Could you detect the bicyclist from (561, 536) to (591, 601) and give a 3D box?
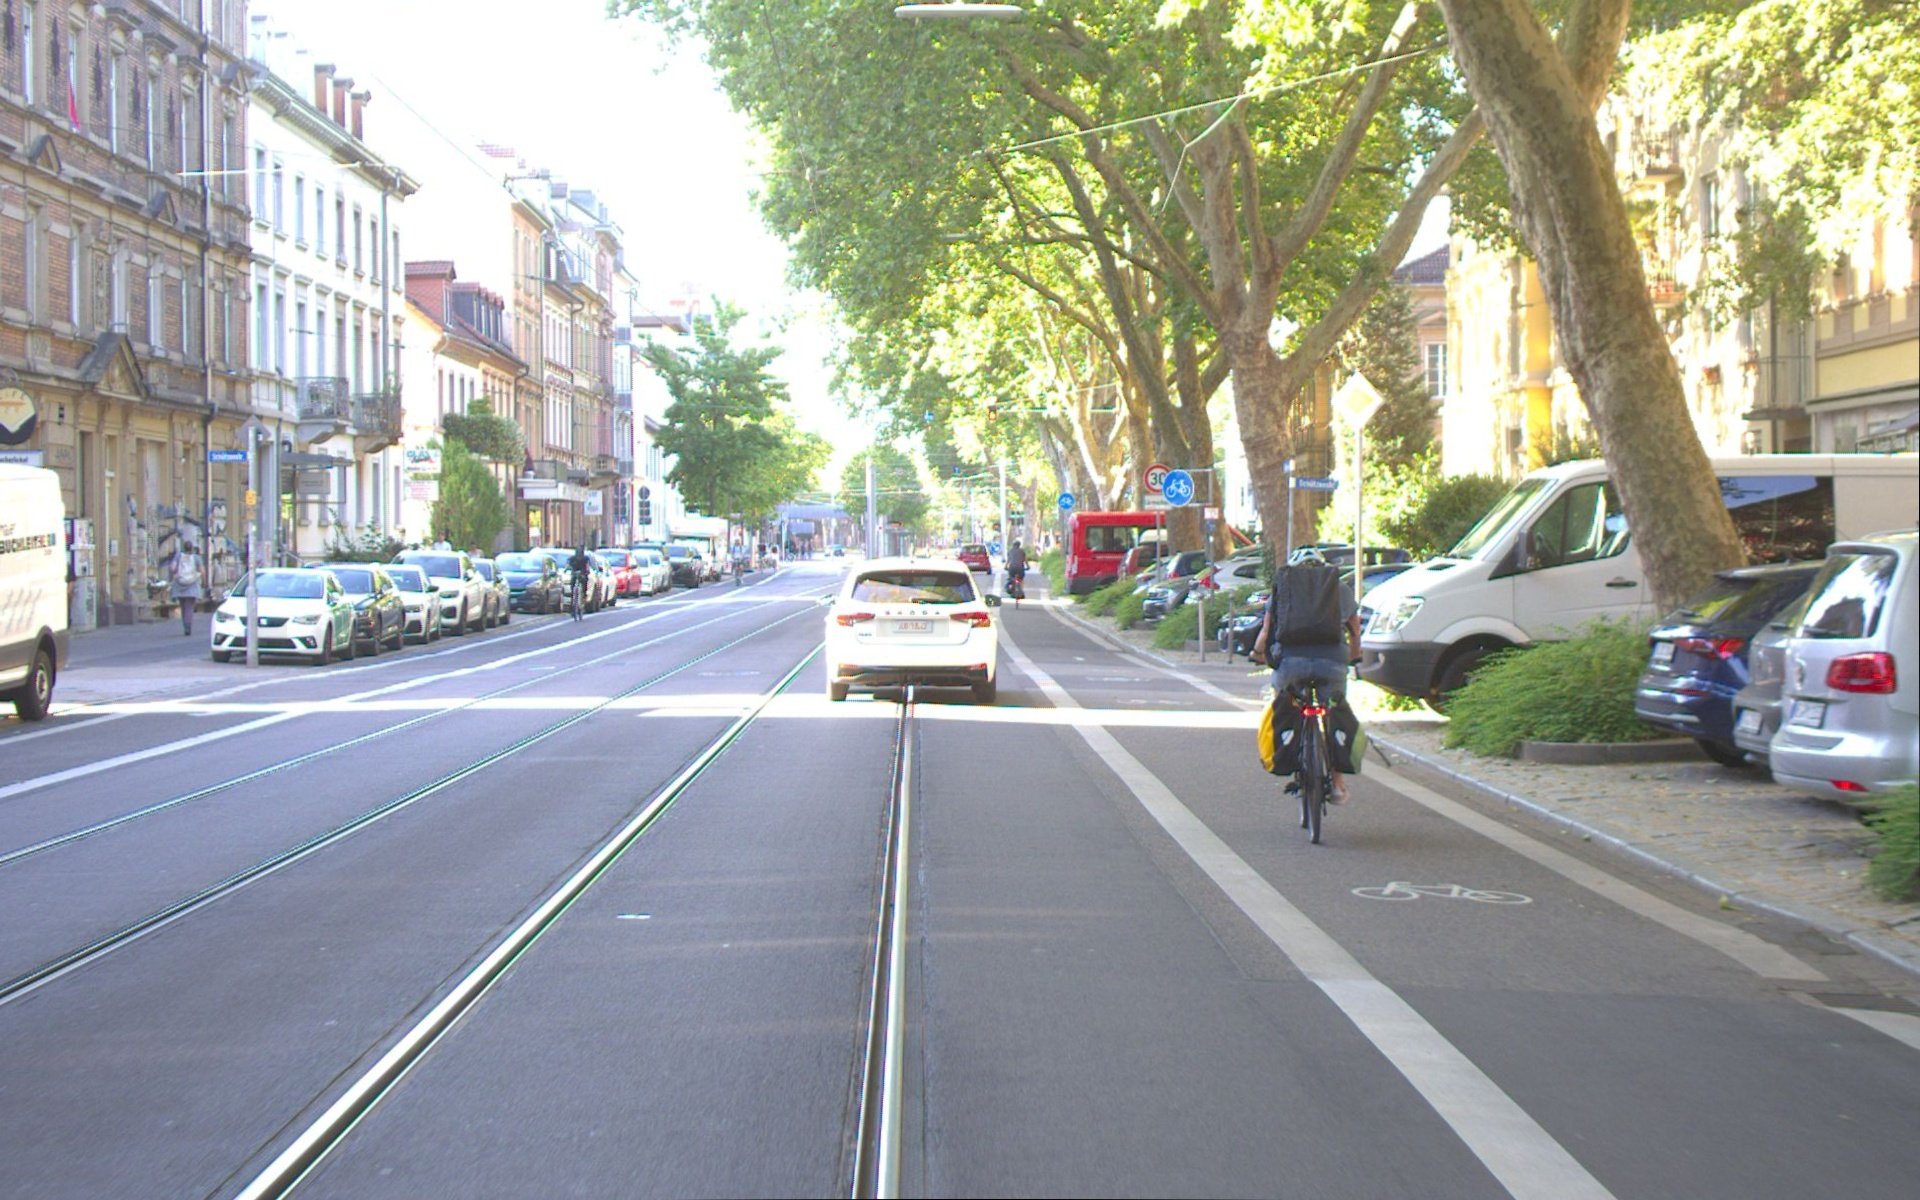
[{"bbox_3d":[-8.779,-0.718,78.645,0.582,1.477,0.807,-1,1,-1],"label":"bicyclist"}]

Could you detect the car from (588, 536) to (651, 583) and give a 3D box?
[{"bbox_3d":[-11.408,-1.369,115.296,1.827,1.497,4.689,1,1,-2],"label":"car"}]

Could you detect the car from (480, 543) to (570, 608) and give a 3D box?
[{"bbox_3d":[-10.614,-0.621,84.144,1.554,1.510,3.924,-1,1,2],"label":"car"}]

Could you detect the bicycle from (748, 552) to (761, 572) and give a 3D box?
[{"bbox_3d":[-10.908,-2.008,182.338,0.484,1.044,2.039,-2,1,2],"label":"bicycle"}]

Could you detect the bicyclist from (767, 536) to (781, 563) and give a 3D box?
[{"bbox_3d":[-10.258,-2.786,189.817,0.638,1.498,1.070,-1,1,1],"label":"bicyclist"}]

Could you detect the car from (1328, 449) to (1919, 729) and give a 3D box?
[{"bbox_3d":[6.242,-0.125,29.393,5.991,2.274,2.006,-1,2,1],"label":"car"}]

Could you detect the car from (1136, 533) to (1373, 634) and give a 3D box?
[{"bbox_3d":[5.641,-0.329,66.111,4.261,1.713,1.849,-3,1,-2],"label":"car"}]

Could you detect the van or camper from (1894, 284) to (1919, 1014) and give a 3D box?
[{"bbox_3d":[6.289,0.144,10.936,6.032,2.482,2.107,-1,1,-1],"label":"van or camper"}]

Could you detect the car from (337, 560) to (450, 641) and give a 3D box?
[{"bbox_3d":[-10.443,-0.016,63.565,1.699,1.415,4.001,1,1,-4],"label":"car"}]

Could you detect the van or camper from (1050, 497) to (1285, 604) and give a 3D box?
[{"bbox_3d":[5.380,-1.312,89.664,5.814,2.510,2.288,-2,2,-2],"label":"van or camper"}]

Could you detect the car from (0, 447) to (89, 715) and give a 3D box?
[{"bbox_3d":[-10.106,-0.179,32.740,2.065,2.527,5.667,0,1,1],"label":"car"}]

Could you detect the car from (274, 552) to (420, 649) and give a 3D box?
[{"bbox_3d":[-10.375,-0.028,58.467,1.740,1.557,4.787,1,1,-2],"label":"car"}]

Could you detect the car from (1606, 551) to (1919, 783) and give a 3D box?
[{"bbox_3d":[6.531,0.407,22.945,4.053,1.455,1.796,-1,1,-2],"label":"car"}]

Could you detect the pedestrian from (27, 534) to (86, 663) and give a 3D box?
[{"bbox_3d":[-12.802,-0.026,48.724,0.683,1.794,1.057,1,1,-9],"label":"pedestrian"}]

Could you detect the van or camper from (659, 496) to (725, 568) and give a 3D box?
[{"bbox_3d":[-12.068,-3.068,155.186,2.216,3.129,7.113,1,1,1],"label":"van or camper"}]

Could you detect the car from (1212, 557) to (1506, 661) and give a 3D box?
[{"bbox_3d":[5.912,0.120,51.246,4.096,1.486,1.831,0,1,-2],"label":"car"}]

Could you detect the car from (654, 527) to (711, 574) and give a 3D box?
[{"bbox_3d":[-11.084,-2.007,137.678,1.964,1.775,4.938,2,1,-2],"label":"car"}]

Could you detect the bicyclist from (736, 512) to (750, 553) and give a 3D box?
[{"bbox_3d":[-8.656,-2.703,137.154,0.473,1.630,0.800,0,1,1],"label":"bicyclist"}]

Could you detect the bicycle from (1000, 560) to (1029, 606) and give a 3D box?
[{"bbox_3d":[1.399,-0.449,88.773,0.680,1.151,2.964,1,1,0],"label":"bicycle"}]

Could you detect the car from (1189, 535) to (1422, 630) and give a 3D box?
[{"bbox_3d":[6.309,-0.331,63.077,4.027,1.638,1.681,-1,1,-2],"label":"car"}]

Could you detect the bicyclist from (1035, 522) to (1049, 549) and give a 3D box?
[{"bbox_3d":[4.945,-3.910,208.329,0.737,1.583,0.586,0,1,12],"label":"bicyclist"}]

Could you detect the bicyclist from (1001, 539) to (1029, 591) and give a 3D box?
[{"bbox_3d":[1.415,-0.899,88.737,0.679,1.334,0.525,1,1,0],"label":"bicyclist"}]

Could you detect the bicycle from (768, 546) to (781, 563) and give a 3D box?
[{"bbox_3d":[-10.247,-2.505,189.940,0.499,0.940,1.921,-2,1,2],"label":"bicycle"}]

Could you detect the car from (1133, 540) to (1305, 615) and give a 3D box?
[{"bbox_3d":[5.670,-0.497,75.405,3.595,1.512,1.694,-2,1,0],"label":"car"}]

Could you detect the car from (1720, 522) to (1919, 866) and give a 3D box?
[{"bbox_3d":[6.082,0.424,17.522,3.954,1.650,1.796,-1,0,-3],"label":"car"}]

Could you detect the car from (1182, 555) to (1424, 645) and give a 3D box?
[{"bbox_3d":[6.004,-0.014,60.510,4.027,1.475,1.681,-1,1,-2],"label":"car"}]

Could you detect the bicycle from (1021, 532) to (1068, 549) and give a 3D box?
[{"bbox_3d":[5.094,-3.610,208.291,2.771,0.996,0.592,1,1,15],"label":"bicycle"}]

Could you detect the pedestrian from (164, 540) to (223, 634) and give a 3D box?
[{"bbox_3d":[-13.771,-0.232,61.784,0.663,1.659,0.767,1,1,31],"label":"pedestrian"}]

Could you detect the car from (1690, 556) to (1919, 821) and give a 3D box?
[{"bbox_3d":[6.506,0.476,20.378,3.954,1.473,1.796,-1,1,-1],"label":"car"}]

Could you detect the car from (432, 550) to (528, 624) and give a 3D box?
[{"bbox_3d":[-10.375,-0.303,74.455,1.662,1.515,4.065,1,1,-3],"label":"car"}]

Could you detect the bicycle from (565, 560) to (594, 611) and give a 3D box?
[{"bbox_3d":[-8.693,-0.331,78.599,0.421,1.146,2.232,-1,0,-1],"label":"bicycle"}]

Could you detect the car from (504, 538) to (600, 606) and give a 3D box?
[{"bbox_3d":[-10.590,-0.755,89.464,1.856,1.698,4.763,-1,1,1],"label":"car"}]

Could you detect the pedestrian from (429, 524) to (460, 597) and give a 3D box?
[{"bbox_3d":[-14.248,-1.085,95.031,0.759,2.007,0.830,0,1,-2],"label":"pedestrian"}]

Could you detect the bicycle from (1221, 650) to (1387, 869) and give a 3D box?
[{"bbox_3d":[1.840,0.827,18.678,0.595,1.001,2.511,2,1,0],"label":"bicycle"}]

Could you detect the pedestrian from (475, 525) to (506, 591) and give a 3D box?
[{"bbox_3d":[-12.994,-1.158,95.145,0.759,1.815,0.830,0,1,-3],"label":"pedestrian"}]

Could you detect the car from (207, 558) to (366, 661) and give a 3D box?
[{"bbox_3d":[-10.328,0.118,52.974,1.740,1.486,4.045,1,1,-2],"label":"car"}]

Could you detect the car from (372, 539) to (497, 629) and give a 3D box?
[{"bbox_3d":[-10.491,-0.349,68.949,1.786,1.717,4.719,1,1,0],"label":"car"}]

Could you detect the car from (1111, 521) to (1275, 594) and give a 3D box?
[{"bbox_3d":[5.767,-1.052,85.222,3.818,1.643,1.767,-2,0,-3],"label":"car"}]

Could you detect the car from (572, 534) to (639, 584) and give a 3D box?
[{"bbox_3d":[-11.337,-1.336,110.215,1.569,1.557,3.448,0,1,4],"label":"car"}]

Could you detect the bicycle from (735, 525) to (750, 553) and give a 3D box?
[{"bbox_3d":[-8.664,-2.432,136.911,0.481,1.082,1.846,0,1,1],"label":"bicycle"}]

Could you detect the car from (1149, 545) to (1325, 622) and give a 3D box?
[{"bbox_3d":[5.866,-0.347,73.038,3.595,1.594,1.541,-1,0,0],"label":"car"}]

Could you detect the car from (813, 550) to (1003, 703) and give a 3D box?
[{"bbox_3d":[-0.585,0.234,35.617,1.842,1.475,3.839,1,1,-2],"label":"car"}]

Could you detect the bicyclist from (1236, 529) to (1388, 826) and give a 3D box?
[{"bbox_3d":[1.914,0.406,18.818,0.614,1.547,0.935,4,1,0],"label":"bicyclist"}]
